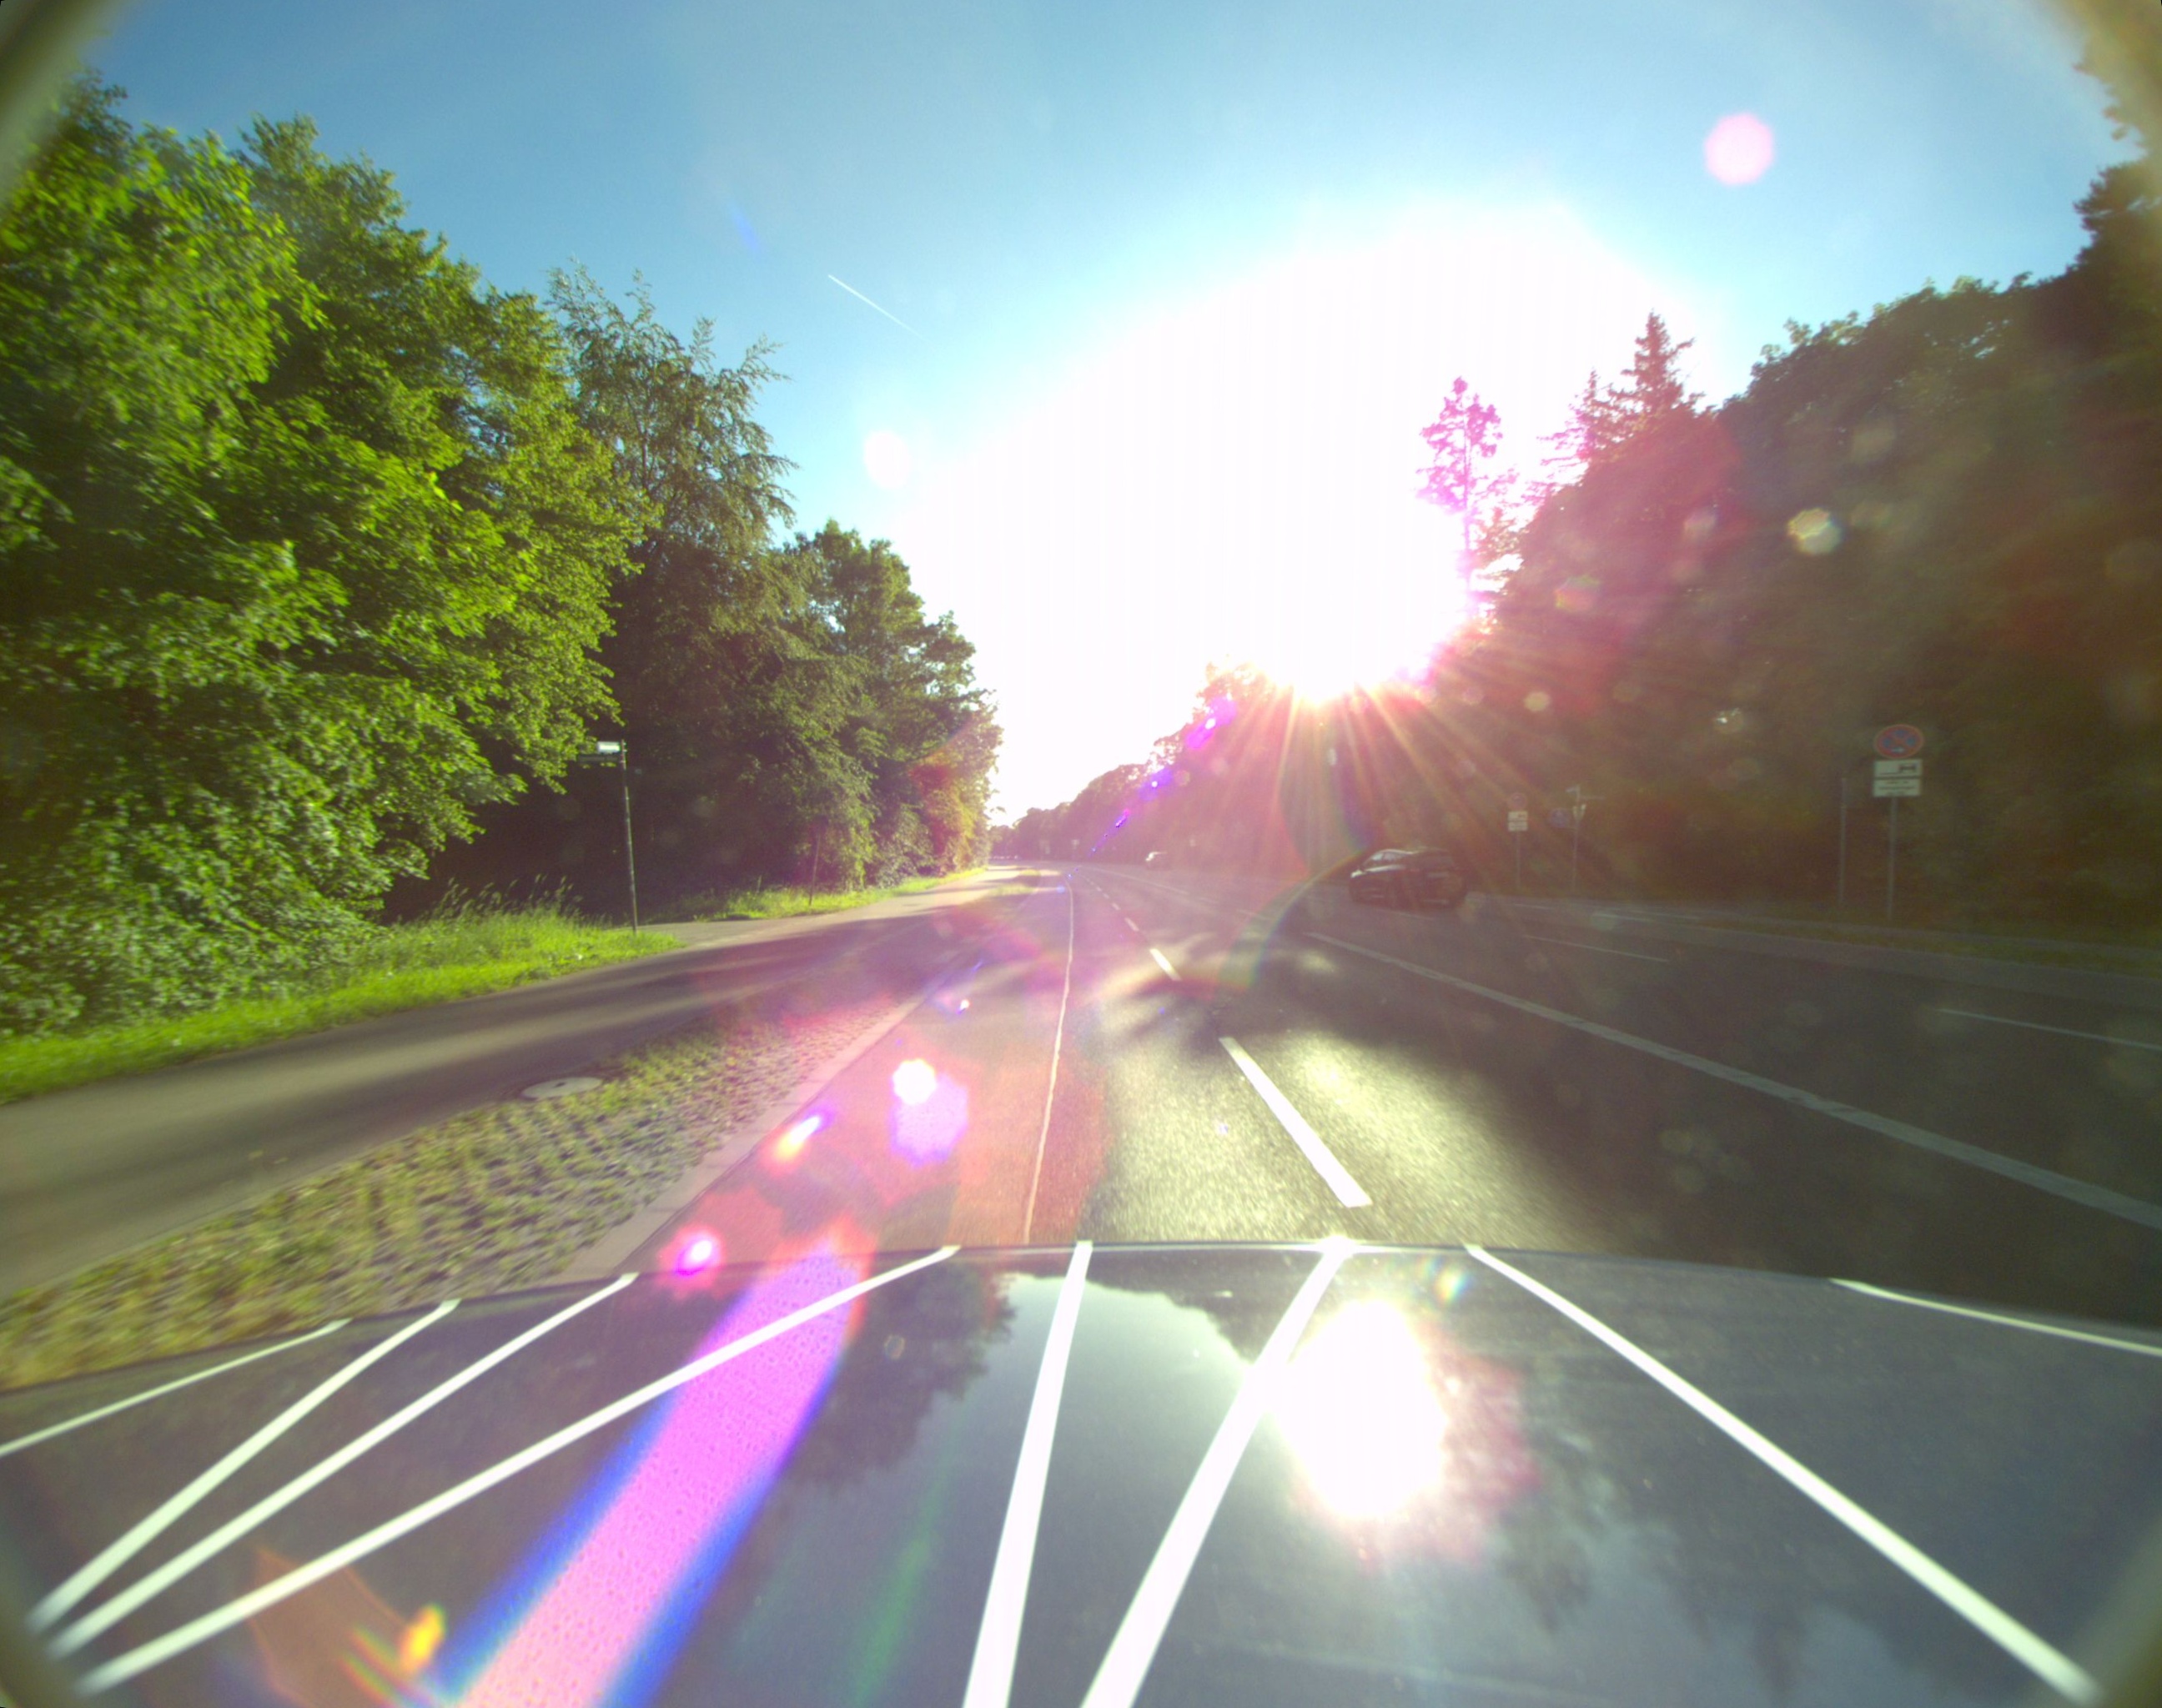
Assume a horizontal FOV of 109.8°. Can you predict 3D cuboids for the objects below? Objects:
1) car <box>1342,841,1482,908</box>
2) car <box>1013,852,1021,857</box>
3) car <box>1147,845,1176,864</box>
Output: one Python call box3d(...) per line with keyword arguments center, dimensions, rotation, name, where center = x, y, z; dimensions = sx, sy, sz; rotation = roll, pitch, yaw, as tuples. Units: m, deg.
box3d(center=(8.299, 0.448, 19.463), dimensions=(1.743, 1.449, 3.998), rotation=(-3, 1, -1), name="car")
box3d(center=(-21.206, 0.186, 251.522), dimensions=(1.745, 1.449, 3.993), rotation=(-4, 1, -18), name="car")
box3d(center=(7.081, 0.032, 67.503), dimensions=(1.901, 1.601, 4.448), rotation=(-1, 1, -2), name="car")
